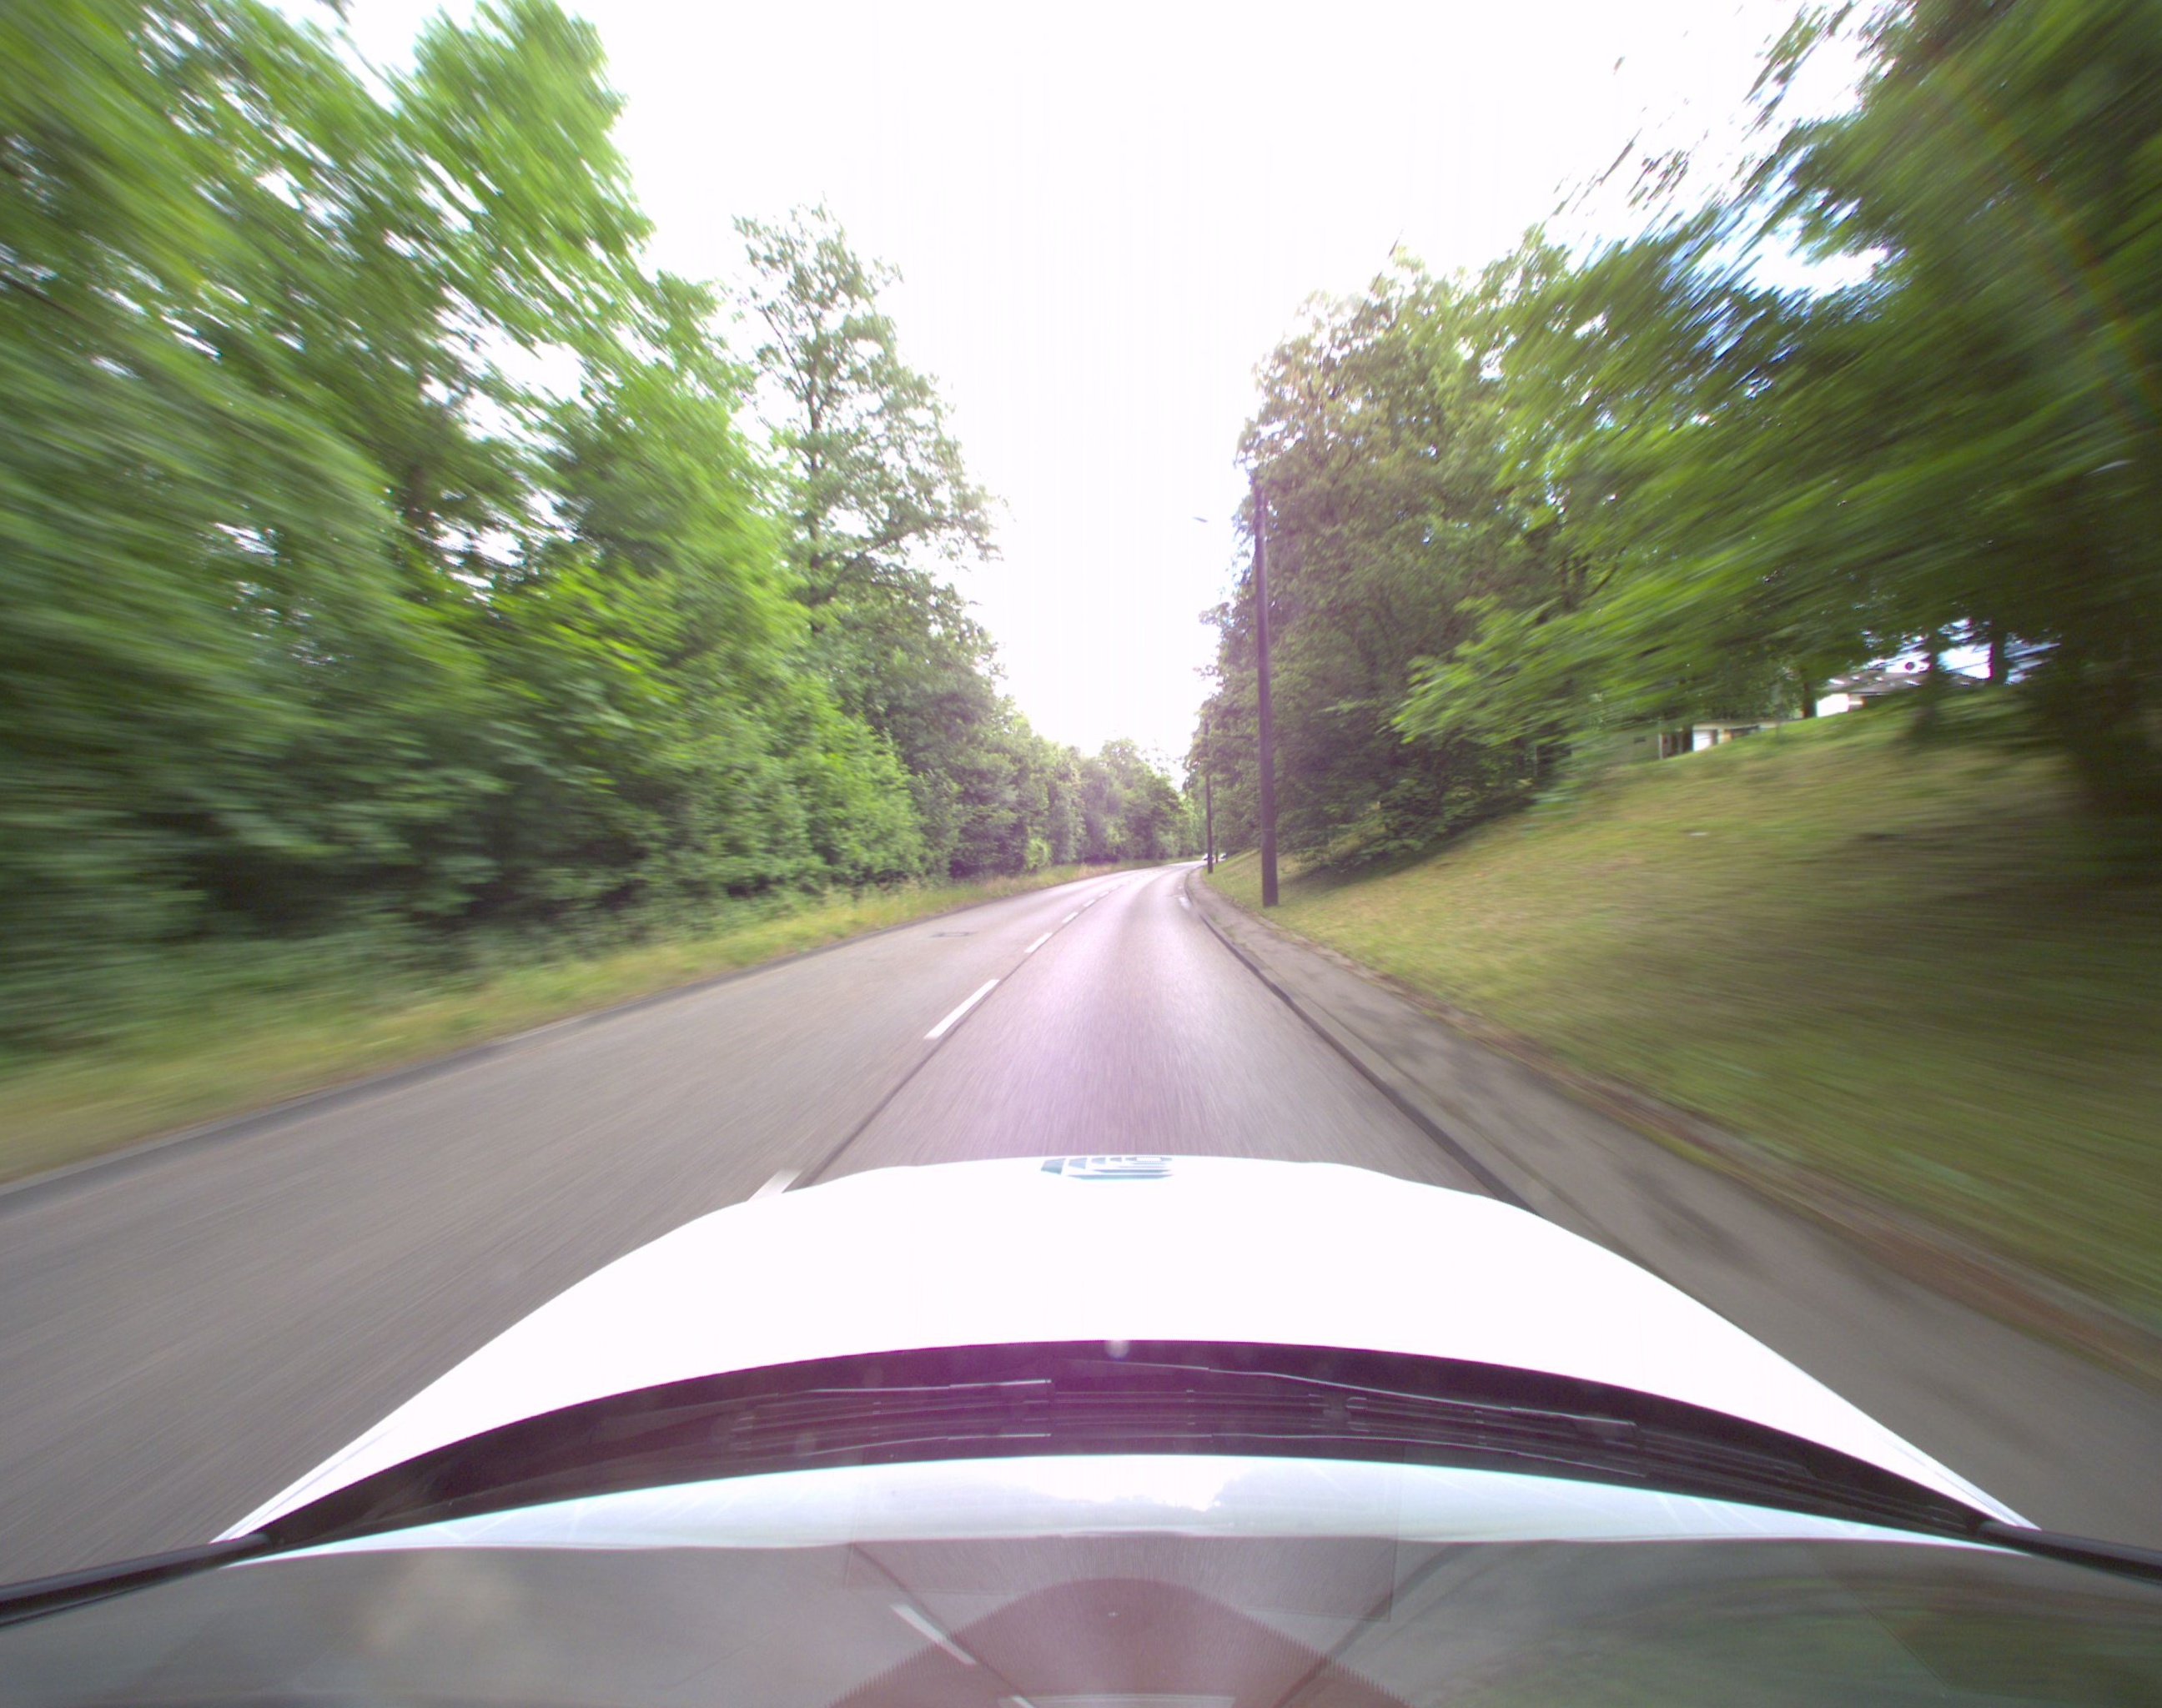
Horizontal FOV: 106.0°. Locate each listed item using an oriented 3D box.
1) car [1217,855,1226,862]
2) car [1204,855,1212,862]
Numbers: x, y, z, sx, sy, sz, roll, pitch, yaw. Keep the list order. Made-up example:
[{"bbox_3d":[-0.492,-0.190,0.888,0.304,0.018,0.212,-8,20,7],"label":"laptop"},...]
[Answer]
[{"bbox_3d":[34.434,1.036,199.898,1.931,1.581,4.451,-1,0,9],"label":"car"},{"bbox_3d":[26.590,1.026,170.522,1.799,1.420,4.010,-1,0,9],"label":"car"}]
